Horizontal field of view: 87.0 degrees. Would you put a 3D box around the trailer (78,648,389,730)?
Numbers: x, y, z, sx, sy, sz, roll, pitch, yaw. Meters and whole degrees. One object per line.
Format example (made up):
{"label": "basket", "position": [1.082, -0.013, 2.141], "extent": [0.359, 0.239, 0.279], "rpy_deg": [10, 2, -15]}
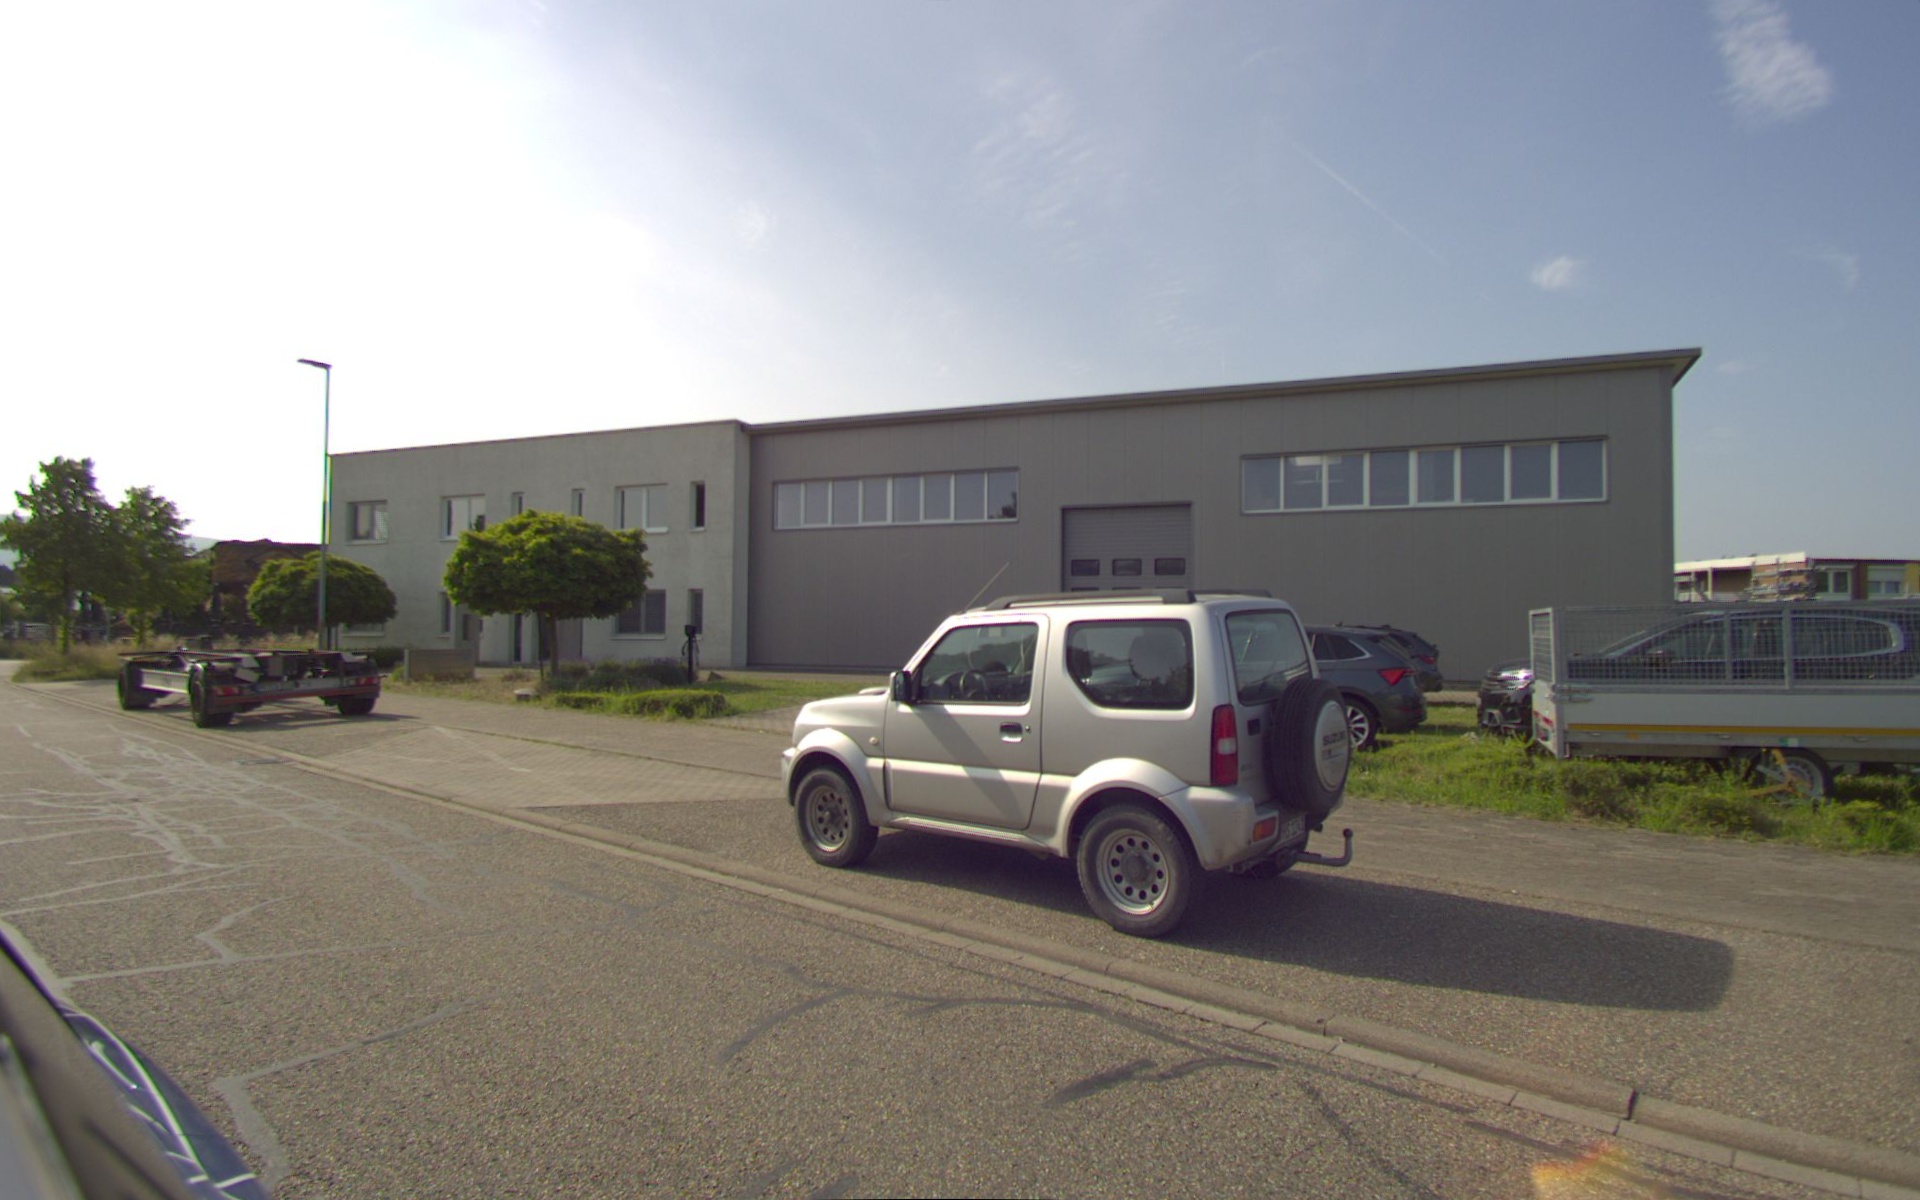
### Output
{"label": "trailer", "position": [-13.910, 1.500, 18.900], "extent": [9.725, 1.082, 2.520], "rpy_deg": [-2, -2, 41]}

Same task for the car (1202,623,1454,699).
{"label": "car", "position": [6.993, 1.124, 19.476], "extent": [4.320, 1.335, 1.982], "rpy_deg": [-1, -2, 21]}

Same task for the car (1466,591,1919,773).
{"label": "car", "position": [7.935, 0.804, 10.770], "extent": [4.393, 1.671, 1.980], "rpy_deg": [-1, -2, 23]}

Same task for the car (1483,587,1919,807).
{"label": "car", "position": [6.584, 0.713, 8.436], "extent": [3.793, 1.584, 1.825], "rpy_deg": [-1, -1, 24]}

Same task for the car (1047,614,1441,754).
{"label": "car", "position": [3.470, 0.960, 12.575], "extent": [4.393, 1.488, 1.967], "rpy_deg": [-1, -2, 23]}

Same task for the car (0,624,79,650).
{"label": "car", "position": [-63.122, 2.541, 69.289], "extent": [1.999, 1.741, 3.945], "rpy_deg": [-2, -3, 41]}

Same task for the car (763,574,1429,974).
{"label": "car", "position": [0.609, 0.782, 6.016], "extent": [3.642, 1.663, 1.581], "rpy_deg": [-2, -2, 41]}

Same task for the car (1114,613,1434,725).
{"label": "car", "position": [4.611, 0.979, 15.131], "extent": [4.320, 1.488, 1.672], "rpy_deg": [-1, -2, 21]}
